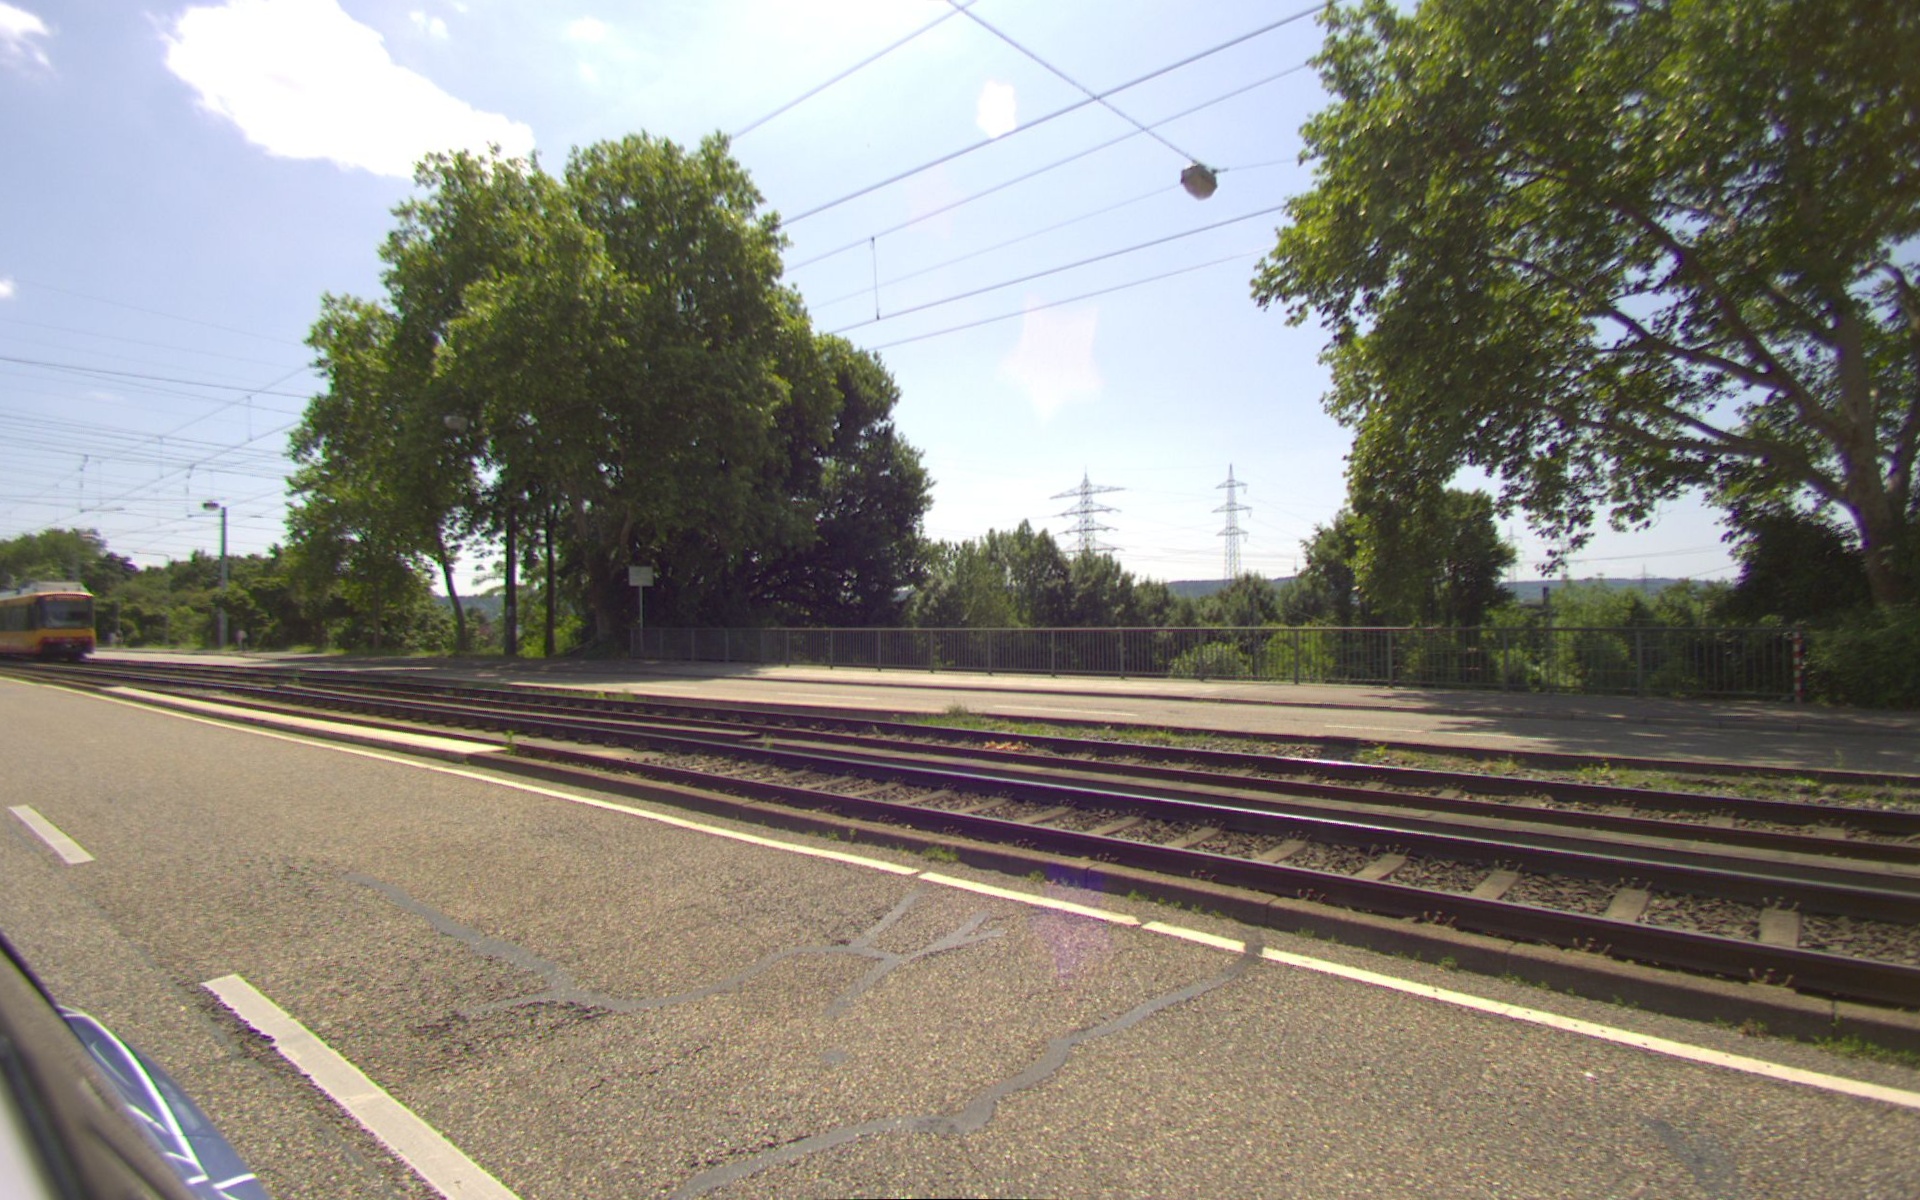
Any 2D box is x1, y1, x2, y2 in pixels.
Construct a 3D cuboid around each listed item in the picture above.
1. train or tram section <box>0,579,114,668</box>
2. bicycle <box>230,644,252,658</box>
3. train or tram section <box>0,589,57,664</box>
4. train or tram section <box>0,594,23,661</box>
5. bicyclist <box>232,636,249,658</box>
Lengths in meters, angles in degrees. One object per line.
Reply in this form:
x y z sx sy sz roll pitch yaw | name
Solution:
-47.824 1.323 52.764 13.965 4.172 3.008 -2 -3 39 | train or tram section
-48.535 3.422 68.309 2.181 0.924 0.703 -2 -1 40 | bicycle
-56.632 1.616 59.869 10.219 4.180 3.008 -2 -3 38 | train or tram section
-65.387 1.901 66.854 13.464 4.186 3.008 -2 -3 39 | train or tram section
-48.661 3.161 68.420 0.918 1.495 0.703 -2 -1 40 | bicyclist
